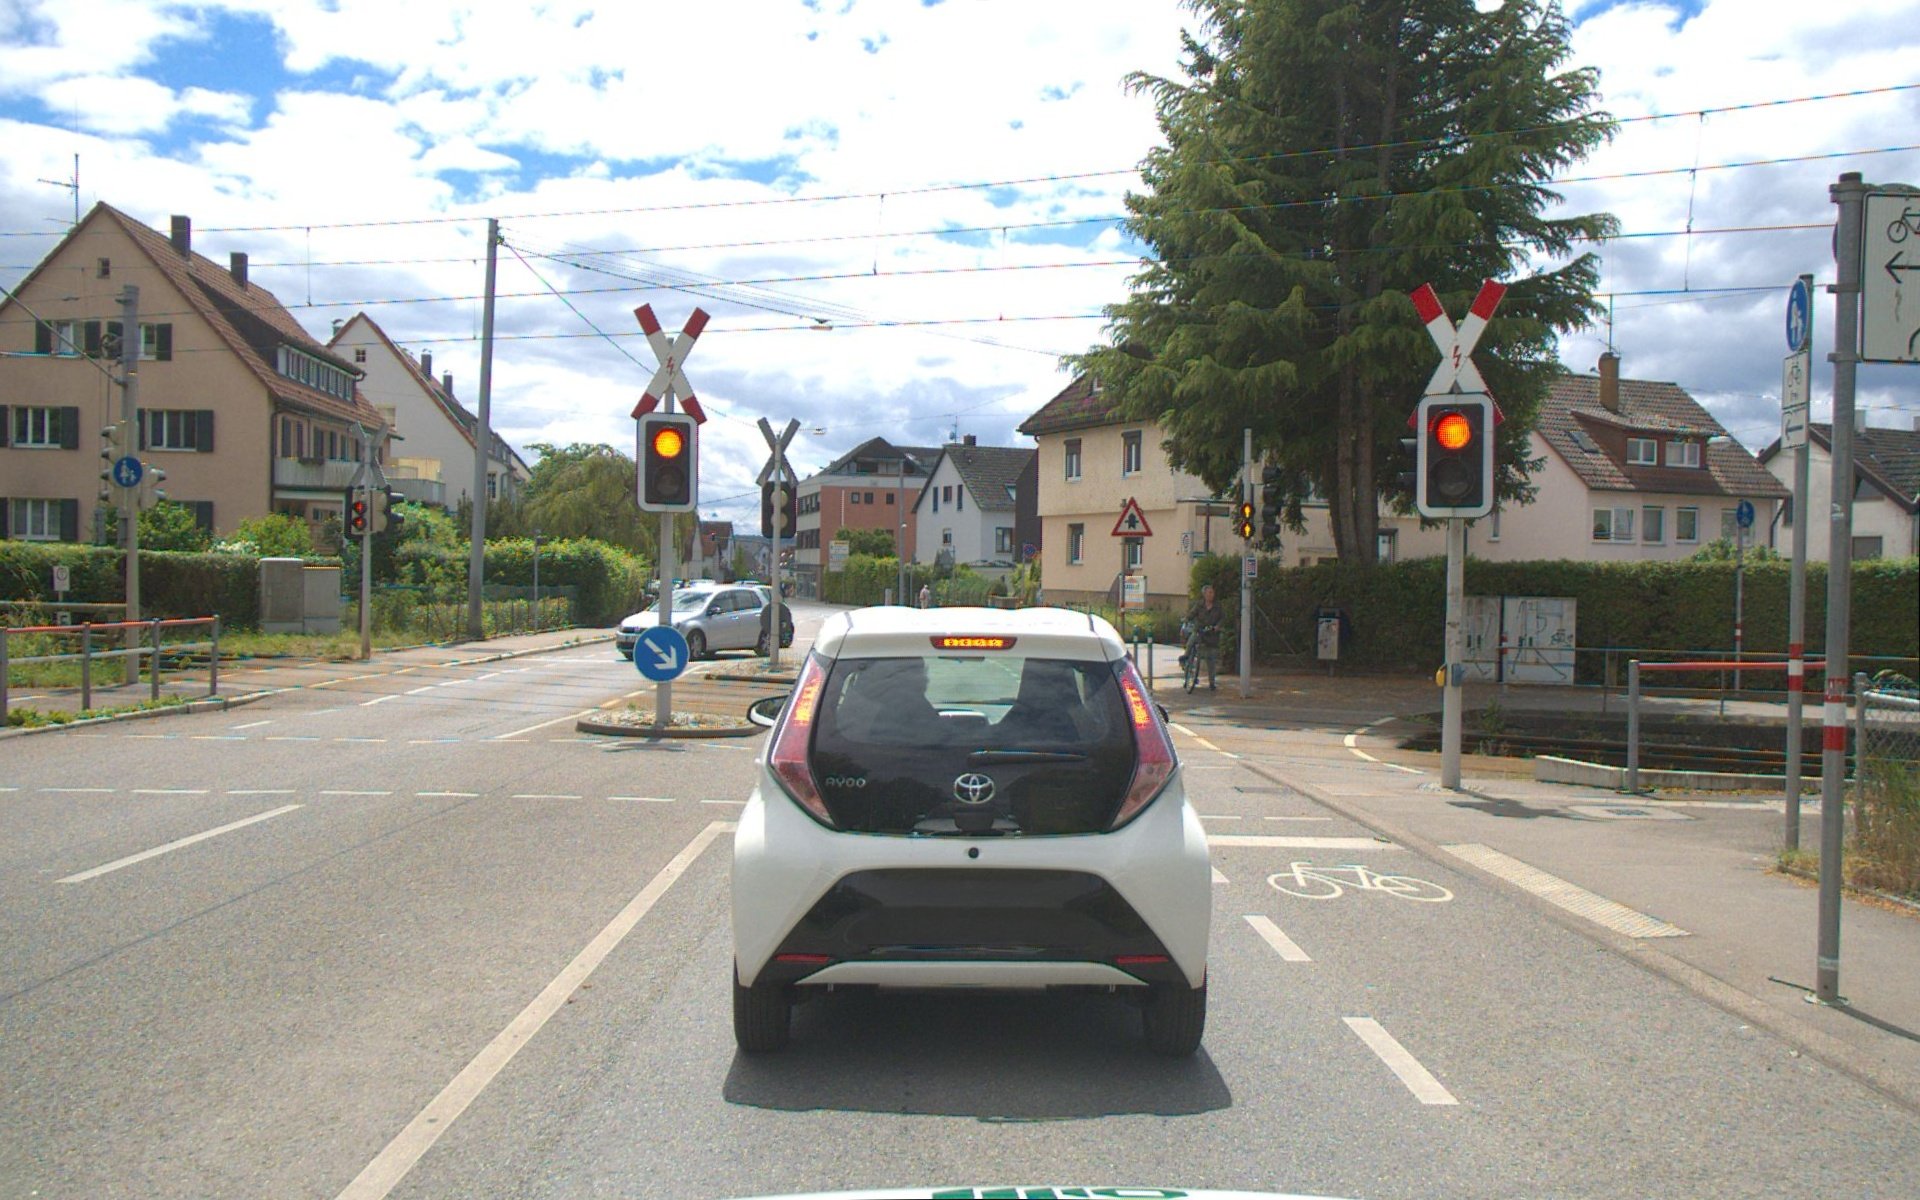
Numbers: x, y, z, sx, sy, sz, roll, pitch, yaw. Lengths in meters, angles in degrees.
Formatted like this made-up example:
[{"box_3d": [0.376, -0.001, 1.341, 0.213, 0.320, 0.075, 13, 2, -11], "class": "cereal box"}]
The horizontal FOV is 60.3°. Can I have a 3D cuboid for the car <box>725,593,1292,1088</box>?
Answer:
[{"box_3d": [0.028, 0.731, 6.864, 1.687, 1.467, 3.705, 2, 0, -4], "class": "car"}]

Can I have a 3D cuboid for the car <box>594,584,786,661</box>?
[{"box_3d": [-5.566, 0.459, 34.599, 1.868, 1.466, 4.093, 2, 0, 27], "class": "car"}]

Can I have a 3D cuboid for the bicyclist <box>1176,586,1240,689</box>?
[{"box_3d": [3.972, 0.590, 26.554, 0.825, 1.580, 0.755, -2, 3, -7], "class": "bicyclist"}]

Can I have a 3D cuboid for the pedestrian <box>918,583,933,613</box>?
[{"box_3d": [-1.903, -0.102, 91.304, 0.712, 1.604, 0.803, 2, 0, -4], "class": "pedestrian"}]

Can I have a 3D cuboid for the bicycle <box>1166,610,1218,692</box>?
[{"box_3d": [3.717, 0.801, 26.573, 0.448, 1.192, 1.477, -2, 3, -6], "class": "bicycle"}]
